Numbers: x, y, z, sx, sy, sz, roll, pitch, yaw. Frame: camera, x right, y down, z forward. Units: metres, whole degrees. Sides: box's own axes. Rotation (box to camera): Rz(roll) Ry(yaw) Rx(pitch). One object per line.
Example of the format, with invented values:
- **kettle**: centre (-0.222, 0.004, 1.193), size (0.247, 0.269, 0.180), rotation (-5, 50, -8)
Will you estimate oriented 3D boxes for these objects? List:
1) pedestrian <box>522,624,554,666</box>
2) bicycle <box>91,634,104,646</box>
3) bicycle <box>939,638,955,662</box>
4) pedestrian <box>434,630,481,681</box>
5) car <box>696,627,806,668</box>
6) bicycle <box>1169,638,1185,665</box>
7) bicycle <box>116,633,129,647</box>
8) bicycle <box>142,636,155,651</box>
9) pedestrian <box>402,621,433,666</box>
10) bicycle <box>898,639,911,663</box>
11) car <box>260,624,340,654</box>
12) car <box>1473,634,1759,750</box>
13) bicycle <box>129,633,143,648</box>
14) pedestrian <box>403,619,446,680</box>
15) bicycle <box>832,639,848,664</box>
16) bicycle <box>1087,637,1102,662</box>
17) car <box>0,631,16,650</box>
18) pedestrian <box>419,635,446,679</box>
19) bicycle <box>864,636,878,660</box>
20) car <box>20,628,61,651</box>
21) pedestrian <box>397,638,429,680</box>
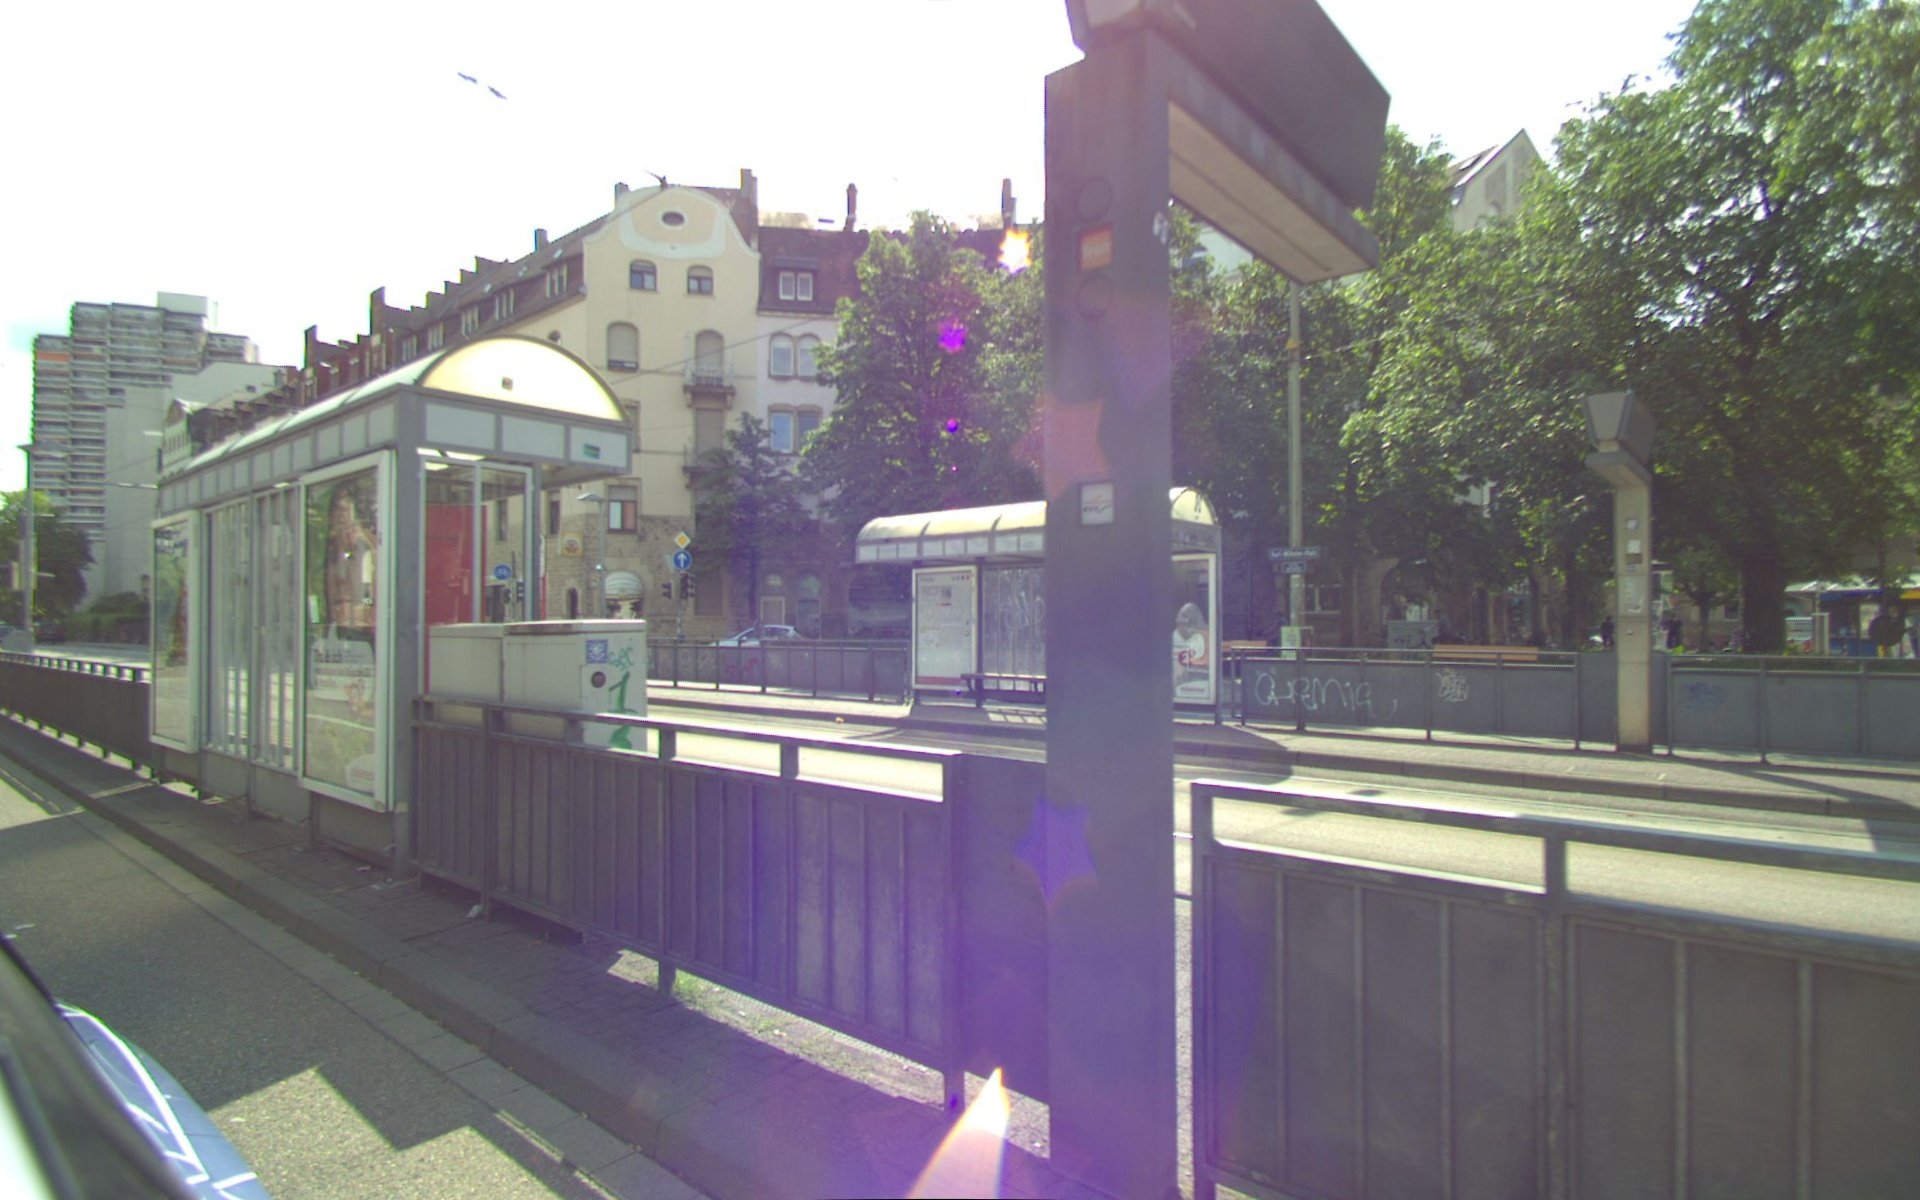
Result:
- **pedestrian**: centre (-16.112, 1.703, 38.651), size (0.963, 1.553, 0.686), rotation (-2, 2, 42)
- **bicycle**: centre (-65.351, 3.034, 76.701), size (0.579, 0.803, 1.874), rotation (-2, 1, -45)
- **bicycle**: centre (-0.524, 1.976, 40.389), size (0.538, 0.889, 2.032), rotation (0, 0, -3)
- **pedestrian**: centre (-13.182, 1.464, 26.570), size (0.716, 1.314, 0.818), rotation (-1, -4, 36)
- **car**: centre (-7.643, 1.723, 37.244), size (3.814, 1.431, 1.723), rotation (0, -2, -6)
- **bicycle**: centre (8.334, 1.960, 38.809), size (0.566, 0.905, 2.022), rotation (0, 0, 13)
- **bicycle**: centre (-60.417, 2.867, 72.996), size (0.579, 0.993, 1.874), rotation (1, -1, -45)
- **bicycle**: centre (-52.760, 2.814, 65.789), size (0.517, 0.913, 2.070), rotation (1, 0, -42)
- **pedestrian**: centre (-21.655, 1.723, 40.385), size (0.873, 1.717, 0.749), rotation (-2, 2, 40)
- **bicycle**: centre (-2.217, 2.027, 40.384), size (0.504, 0.889, 2.032), rotation (0, 0, -3)
- **car**: centre (-37.159, 2.189, 57.008), size (1.706, 1.497, 3.407), rotation (-2, 0, 42)
- **car**: centre (11.399, 1.502, 17.751), size (3.998, 1.790, 1.662), rotation (-2, -2, 41)
- **bicycle**: centre (-57.030, 2.786, 70.048), size (0.532, 1.037, 1.874), rotation (1, -1, -45)
- **pedestrian**: centre (-14.207, 1.293, 26.860), size (0.798, 1.577, 0.721), rotation (-1, -2, 36)
- **bicycle**: centre (-4.769, 2.040, 40.358), size (0.504, 0.889, 2.032), rotation (0, 0, -3)
- **bicycle**: centre (5.257, 1.928, 39.713), size (0.565, 0.905, 2.026), rotation (0, 0, 7)
- **car**: centre (-70.327, 2.942, 73.860), size (3.432, 1.398, 1.608), rotation (-2, -3, 39)
- **pedestrian**: centre (-13.773, 1.488, 26.432), size (0.422, 1.117, 0.433), rotation (-1, -4, 36)
- **bicycle**: centre (-3.547, 1.895, 40.306), size (0.504, 0.889, 2.032), rotation (0, 0, -3)
- **car**: centre (-71.989, 3.104, 79.224), size (4.328, 1.724, 1.773), rotation (-2, -2, 40)
- **pedestrian**: centre (-14.711, 1.580, 27.213), size (0.443, 1.122, 0.635), rotation (-1, -2, 36)
